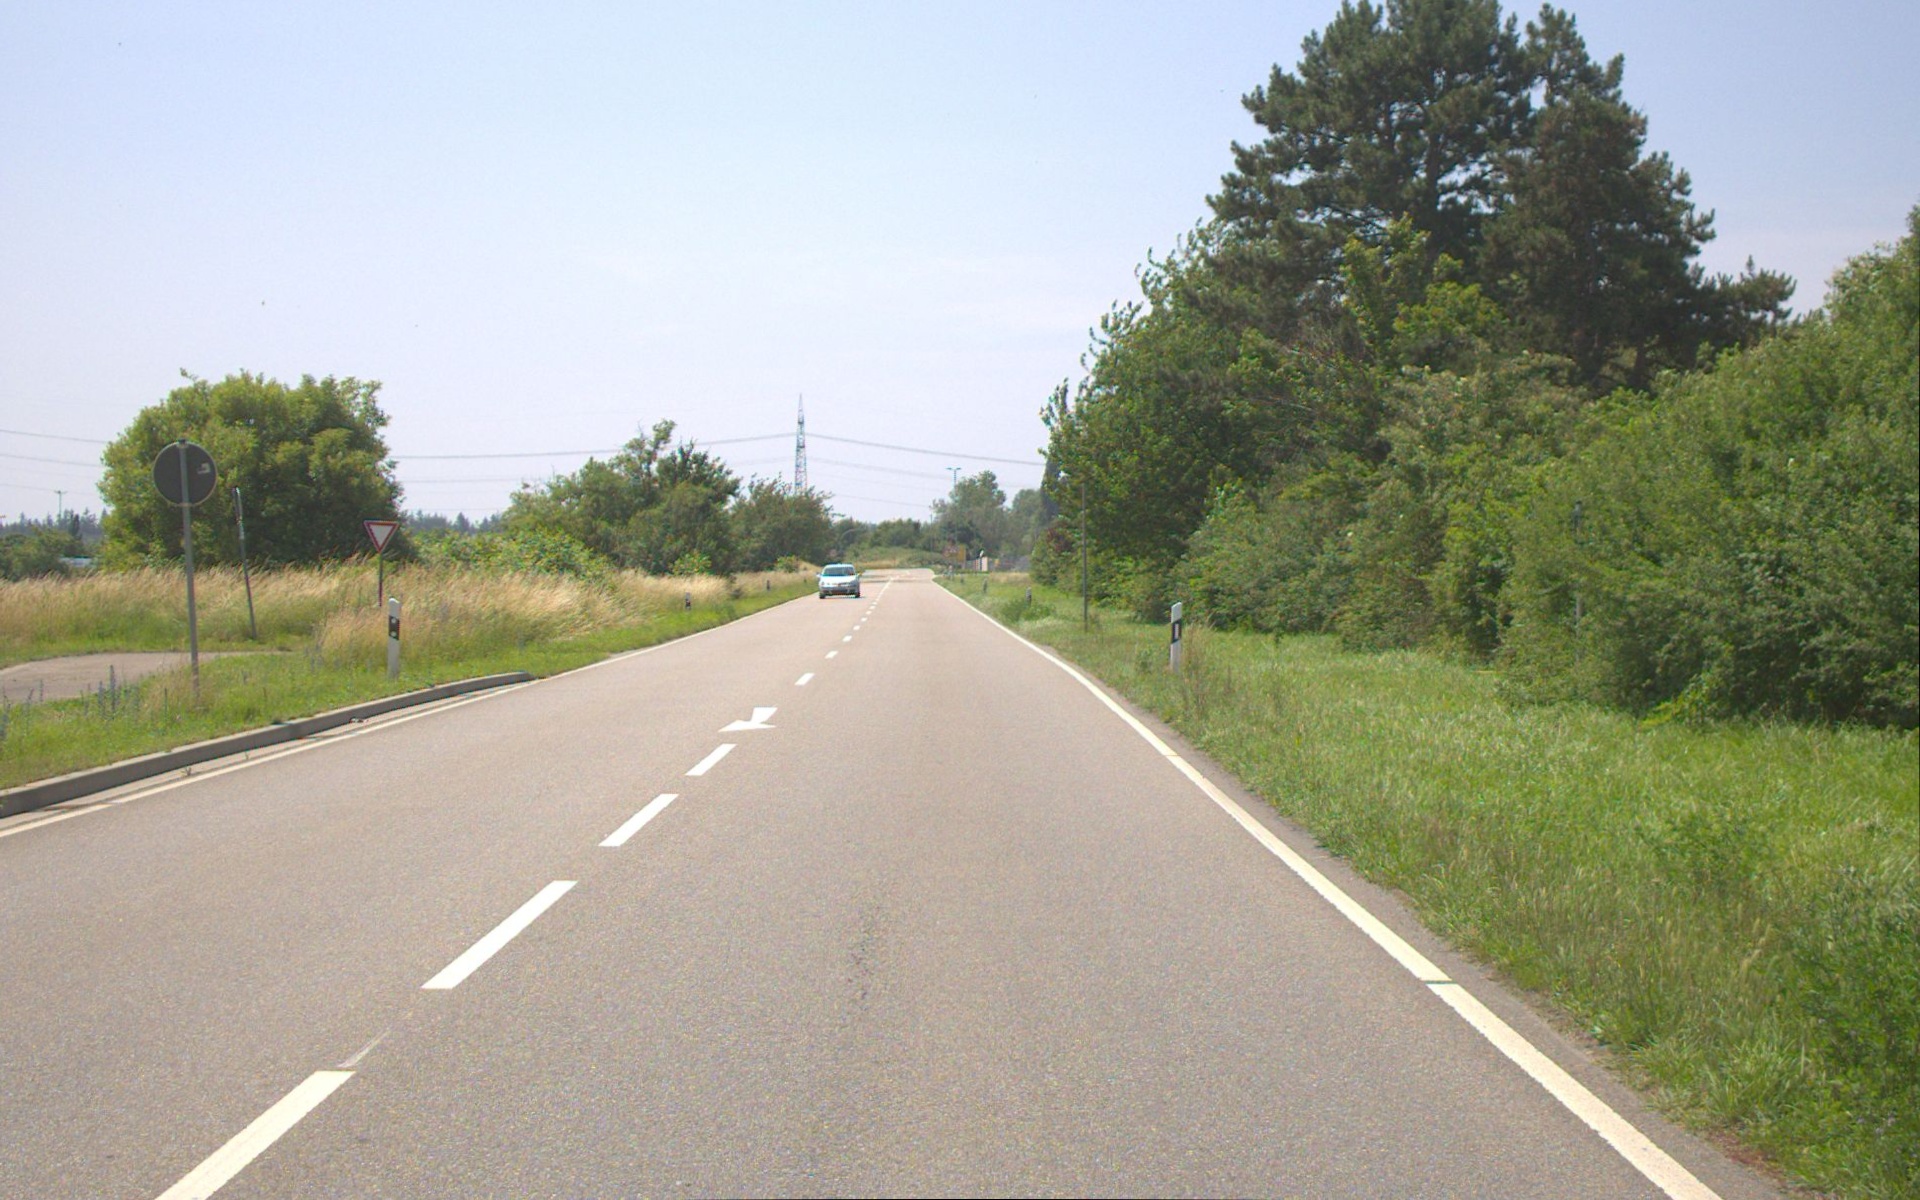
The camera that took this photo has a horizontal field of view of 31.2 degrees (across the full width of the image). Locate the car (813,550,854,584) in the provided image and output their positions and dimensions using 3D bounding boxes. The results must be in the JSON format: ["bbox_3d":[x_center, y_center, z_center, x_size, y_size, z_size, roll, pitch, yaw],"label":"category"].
[{"bbox_3d":[-5.491,-1.453,149.725,1.678,1.416,4.422,-2,1,-1],"label":"car"}]
